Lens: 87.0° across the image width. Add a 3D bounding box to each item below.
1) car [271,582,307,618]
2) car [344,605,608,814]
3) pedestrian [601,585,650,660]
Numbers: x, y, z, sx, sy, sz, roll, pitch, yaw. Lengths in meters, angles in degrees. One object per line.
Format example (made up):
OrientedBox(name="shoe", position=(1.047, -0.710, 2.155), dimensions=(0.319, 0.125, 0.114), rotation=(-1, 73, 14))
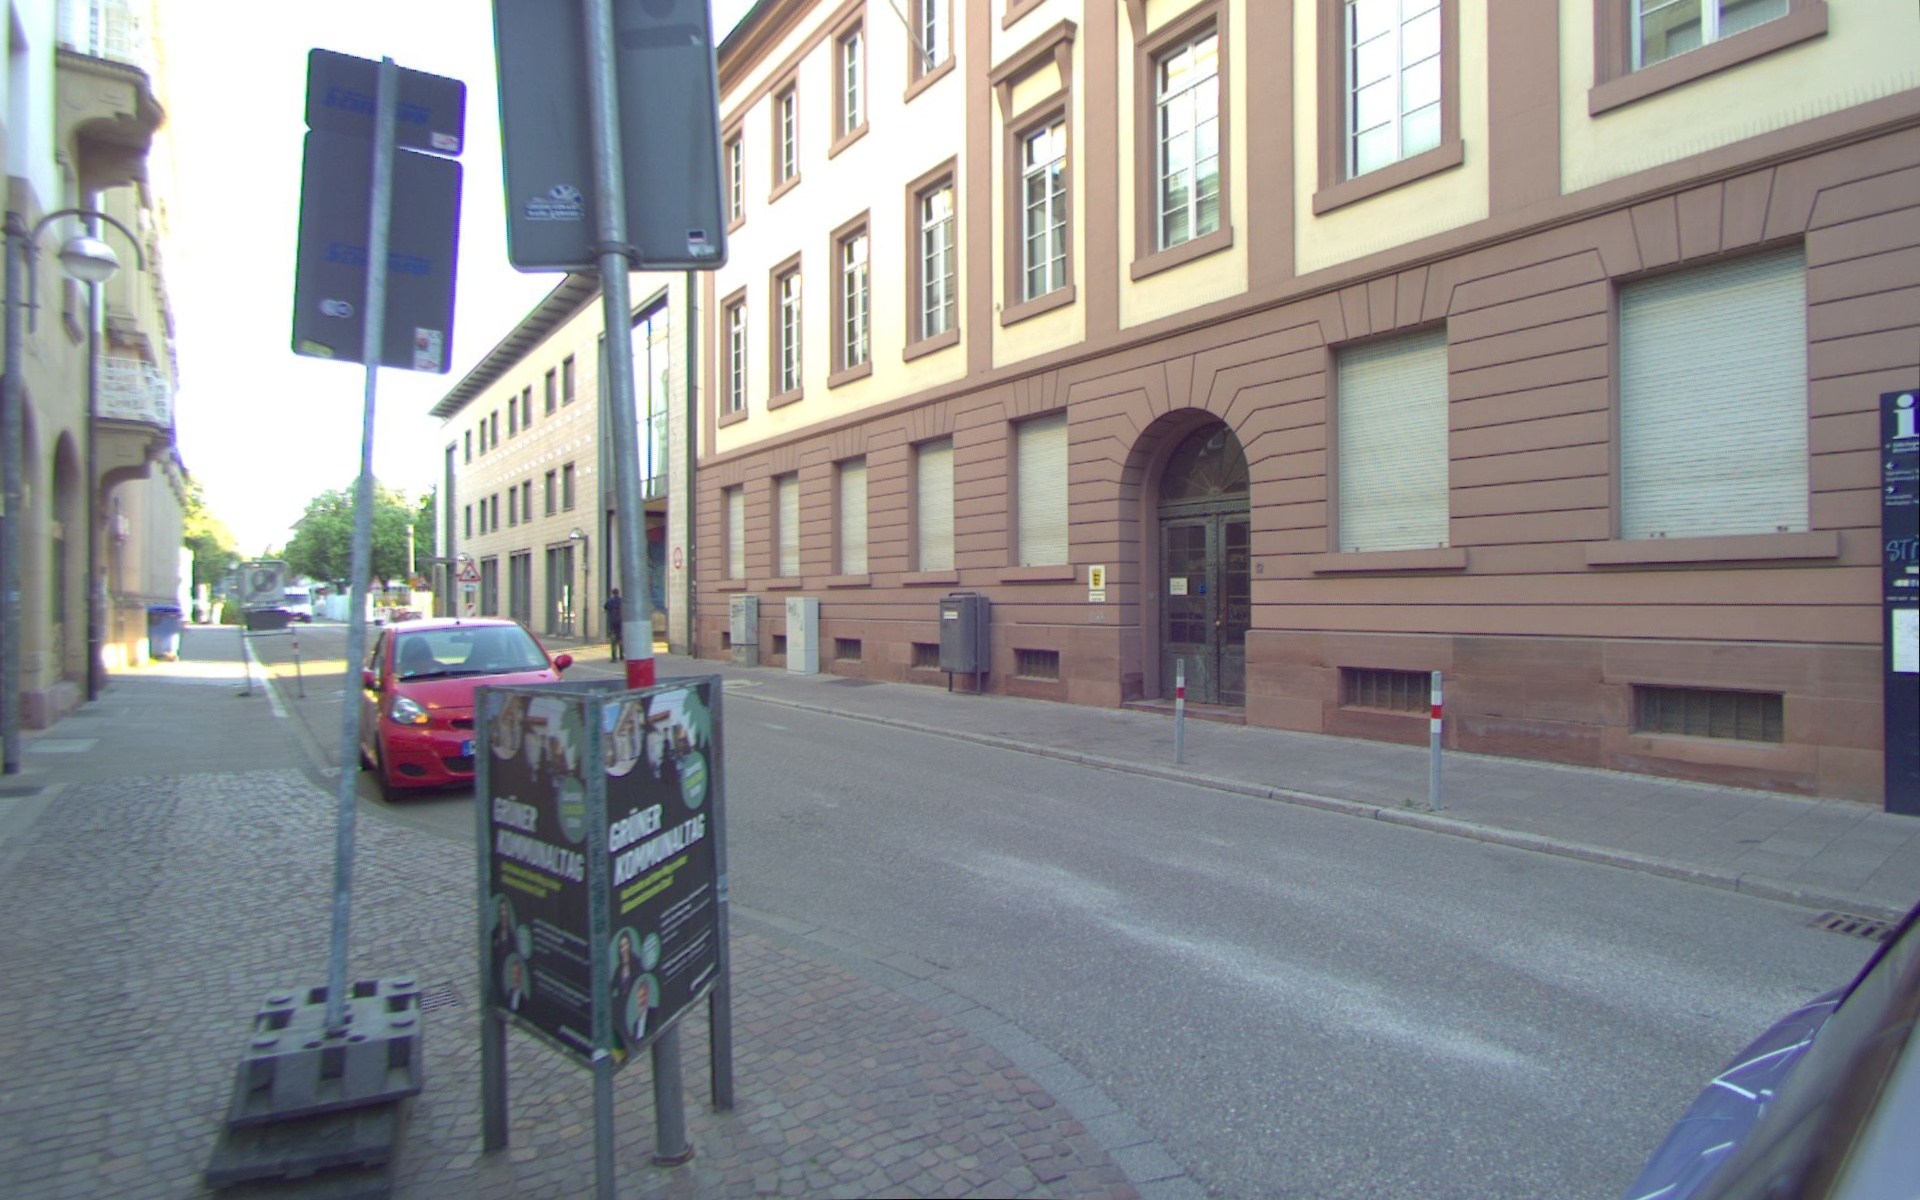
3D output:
OrientedBox(name="car", position=(-44.632, 0.001, 67.404), dimensions=(1.902, 2.334, 4.002), rotation=(0, 0, -32))
OrientedBox(name="car", position=(-4.748, 0.822, 9.608), dimensions=(1.619, 1.460, 4.000), rotation=(-3, 2, -34))
OrientedBox(name="pedestrian", position=(-8.255, 0.527, 24.964), dimensions=(0.912, 1.801, 0.941), rotation=(0, 0, -34))
